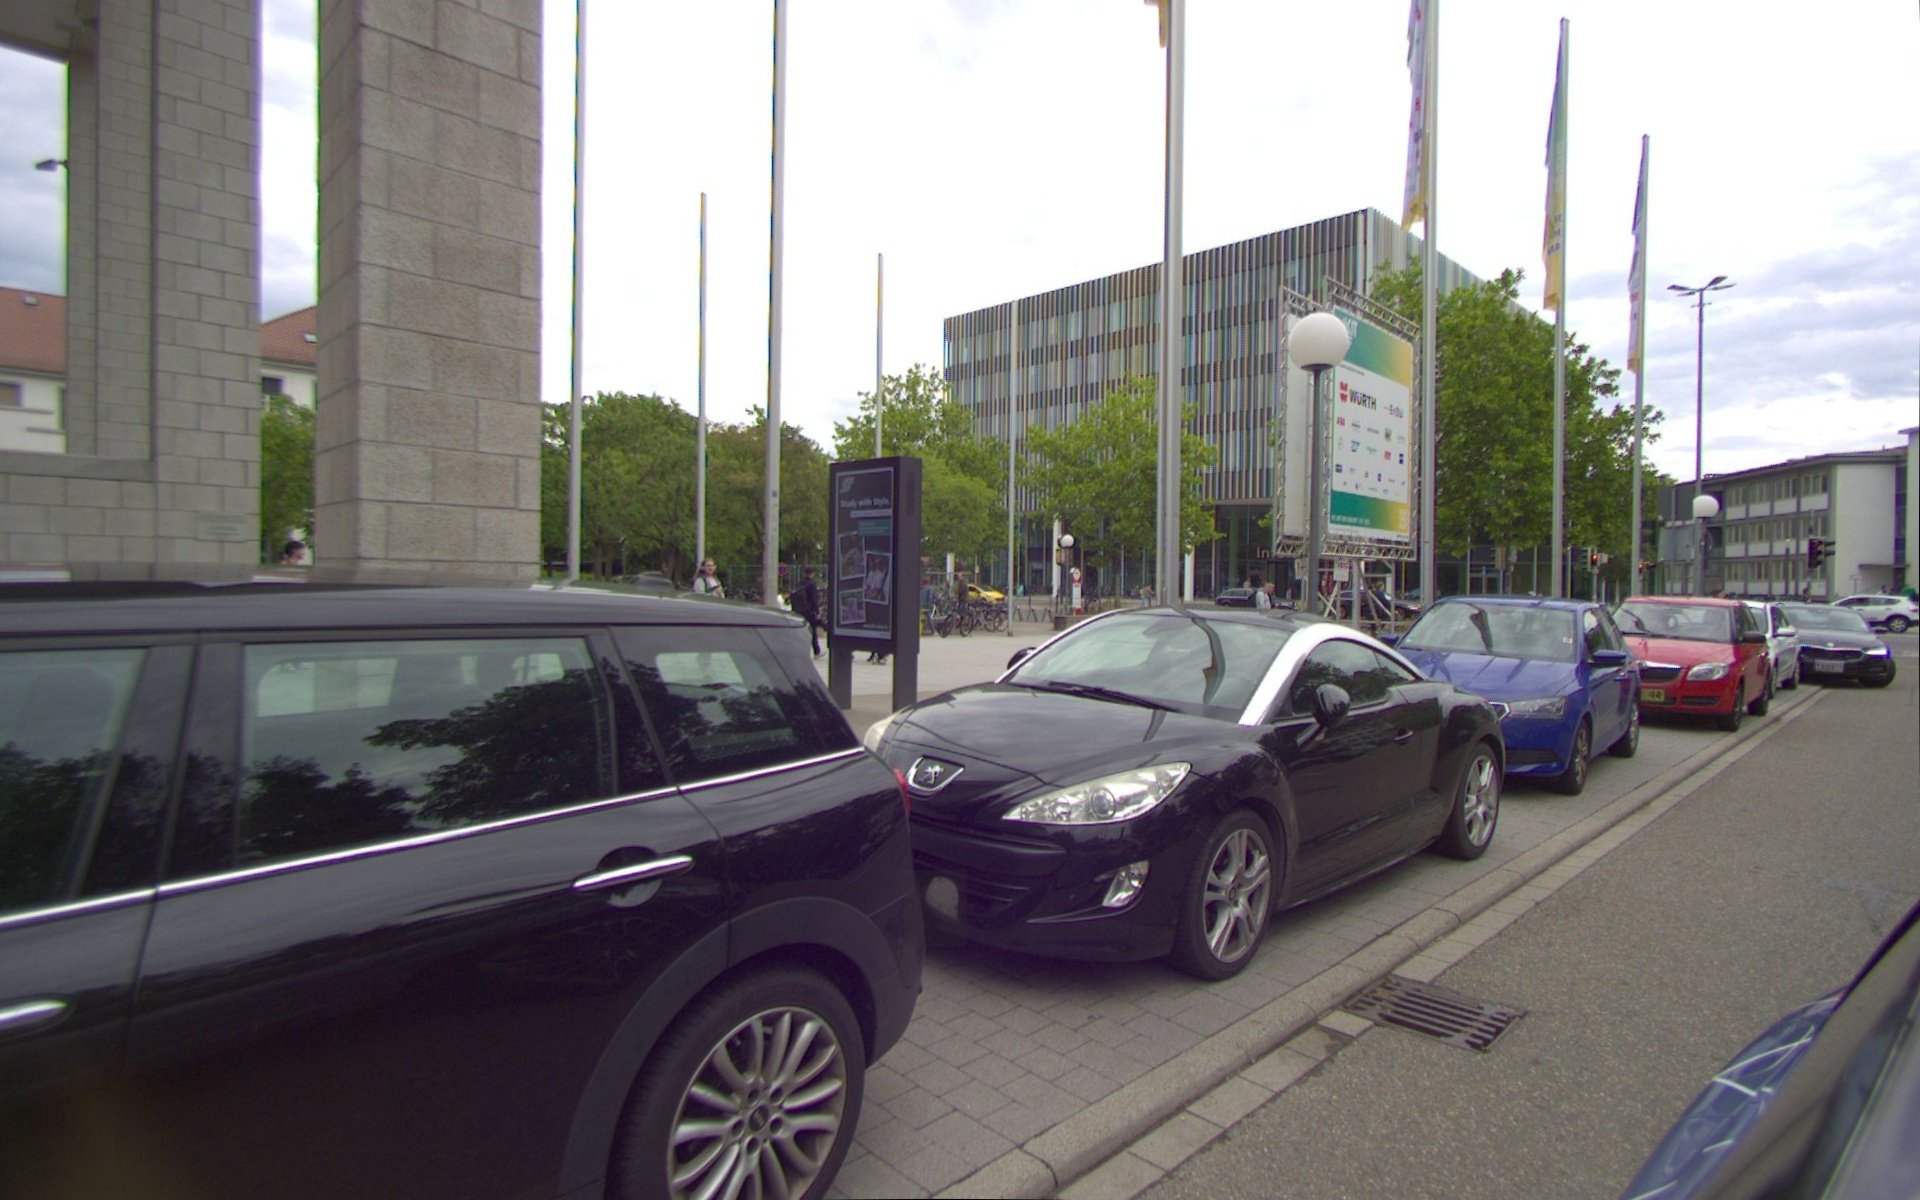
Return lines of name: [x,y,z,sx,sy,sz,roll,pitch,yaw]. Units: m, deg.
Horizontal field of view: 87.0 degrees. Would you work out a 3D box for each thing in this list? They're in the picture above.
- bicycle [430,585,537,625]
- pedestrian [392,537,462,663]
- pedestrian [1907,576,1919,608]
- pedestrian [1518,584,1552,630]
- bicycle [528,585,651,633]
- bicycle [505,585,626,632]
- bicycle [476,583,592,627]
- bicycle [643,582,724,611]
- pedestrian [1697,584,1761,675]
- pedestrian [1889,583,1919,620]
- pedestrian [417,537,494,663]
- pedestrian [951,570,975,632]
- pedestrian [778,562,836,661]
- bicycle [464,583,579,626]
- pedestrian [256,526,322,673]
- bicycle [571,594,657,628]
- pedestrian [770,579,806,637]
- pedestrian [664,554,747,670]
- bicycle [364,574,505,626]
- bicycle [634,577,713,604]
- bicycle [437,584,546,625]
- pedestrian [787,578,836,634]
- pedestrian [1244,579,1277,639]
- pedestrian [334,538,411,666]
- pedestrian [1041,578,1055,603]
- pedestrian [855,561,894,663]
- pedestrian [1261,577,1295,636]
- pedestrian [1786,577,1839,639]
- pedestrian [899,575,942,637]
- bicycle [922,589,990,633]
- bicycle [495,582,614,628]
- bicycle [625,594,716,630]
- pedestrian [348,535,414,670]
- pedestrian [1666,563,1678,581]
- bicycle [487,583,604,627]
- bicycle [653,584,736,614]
bicycle: [-15.375,0.170,32.747,3.056,1.185,0.746,3,-3,-44]
pedestrian: [-8.174,-0.015,15.531,0.769,1.888,0.600,1,1,20]
pedestrian: [52.536,-0.419,55.286,0.888,1.736,0.953,0,1,-28]
pedestrian: [20.805,0.248,36.624,0.777,1.647,0.758,0,0,-30]
bicycle: [-9.853,0.257,27.024,3.055,1.185,0.620,3,-3,-43]
bicycle: [-10.890,0.258,28.049,3.055,1.185,0.746,3,-2,-43]
bicycle: [-12.544,0.165,29.881,3.055,1.185,0.746,3,-2,-43]
bicycle: [-12.254,-0.179,44.953,3.333,1.184,1.054,-2,2,-39]
pedestrian: [15.690,0.582,20.656,0.805,1.810,0.794,0,1,-33]
pedestrian: [47.380,0.074,50.799,0.885,1.811,0.839,0,-2,24]
pedestrian: [-7.436,-0.012,14.928,0.758,1.807,0.728,1,1,32]
pedestrian: [0.079,0.033,30.514,0.660,1.856,0.512,0,1,-5]
pedestrian: [-2.704,0.194,17.906,0.693,1.690,0.756,1,0,-43]
bicycle: [-13.128,0.164,30.404,3.055,1.185,0.746,3,-2,-43]
pedestrian: [-8.771,0.002,13.221,0.610,1.864,0.591,1,-3,-44]
bicycle: [-13.132,0.437,38.535,3.055,1.185,0.746,3,-2,-43]
pedestrian: [-4.330,0.182,25.488,0.663,1.431,0.766,0,1,14]
pedestrian: [-3.777,0.184,15.020,0.916,1.662,0.735,3,-3,-45]
bicycle: [-13.204,0.020,25.543,3.055,1.185,0.746,3,-2,-43]
bicycle: [-12.951,-0.448,45.844,3.333,1.184,1.054,0,1,-39]
bicycle: [-14.855,0.168,32.167,3.056,1.185,0.746,3,-3,-44]
pedestrian: [-3.866,0.138,26.390,0.846,1.438,0.957,1,1,34]
pedestrian: [8.857,0.273,29.838,0.575,1.737,0.657,3,-1,-39]
pedestrian: [-8.578,0.025,14.787,0.716,1.807,0.729,1,0,32]
pedestrian: [6.624,-0.732,76.143,0.795,1.832,0.588,0,0,-40]
pedestrian: [-1.510,0.208,17.719,0.634,1.735,0.783,0,-1,-7]
pedestrian: [9.556,0.191,30.407,0.666,1.737,0.672,0,-1,-39]
pedestrian: [23.028,0.194,27.357,1.038,1.640,0.649,1,1,37]
pedestrian: [-1.127,0.152,29.095,0.844,1.725,0.960,2,1,27]
bicycle: [-0.091,0.328,28.770,0.455,1.185,2.378,0,-2,40]
bicycle: [-11.471,0.162,28.766,3.055,1.185,0.746,3,-2,-43]
bicycle: [-10.113,0.432,35.493,3.055,1.185,0.746,3,-2,-43]
pedestrian: [-7.734,0.021,13.511,0.593,1.737,0.777,1,0,-43]
pedestrian: [69.593,-2.738,98.924,0.765,1.811,0.758,1,1,15]
bicycle: [-11.982,0.165,29.358,3.055,1.185,0.746,3,-2,-43]
bicycle: [-11.555,-0.035,44.095,3.332,1.185,1.054,3,-2,-39]
